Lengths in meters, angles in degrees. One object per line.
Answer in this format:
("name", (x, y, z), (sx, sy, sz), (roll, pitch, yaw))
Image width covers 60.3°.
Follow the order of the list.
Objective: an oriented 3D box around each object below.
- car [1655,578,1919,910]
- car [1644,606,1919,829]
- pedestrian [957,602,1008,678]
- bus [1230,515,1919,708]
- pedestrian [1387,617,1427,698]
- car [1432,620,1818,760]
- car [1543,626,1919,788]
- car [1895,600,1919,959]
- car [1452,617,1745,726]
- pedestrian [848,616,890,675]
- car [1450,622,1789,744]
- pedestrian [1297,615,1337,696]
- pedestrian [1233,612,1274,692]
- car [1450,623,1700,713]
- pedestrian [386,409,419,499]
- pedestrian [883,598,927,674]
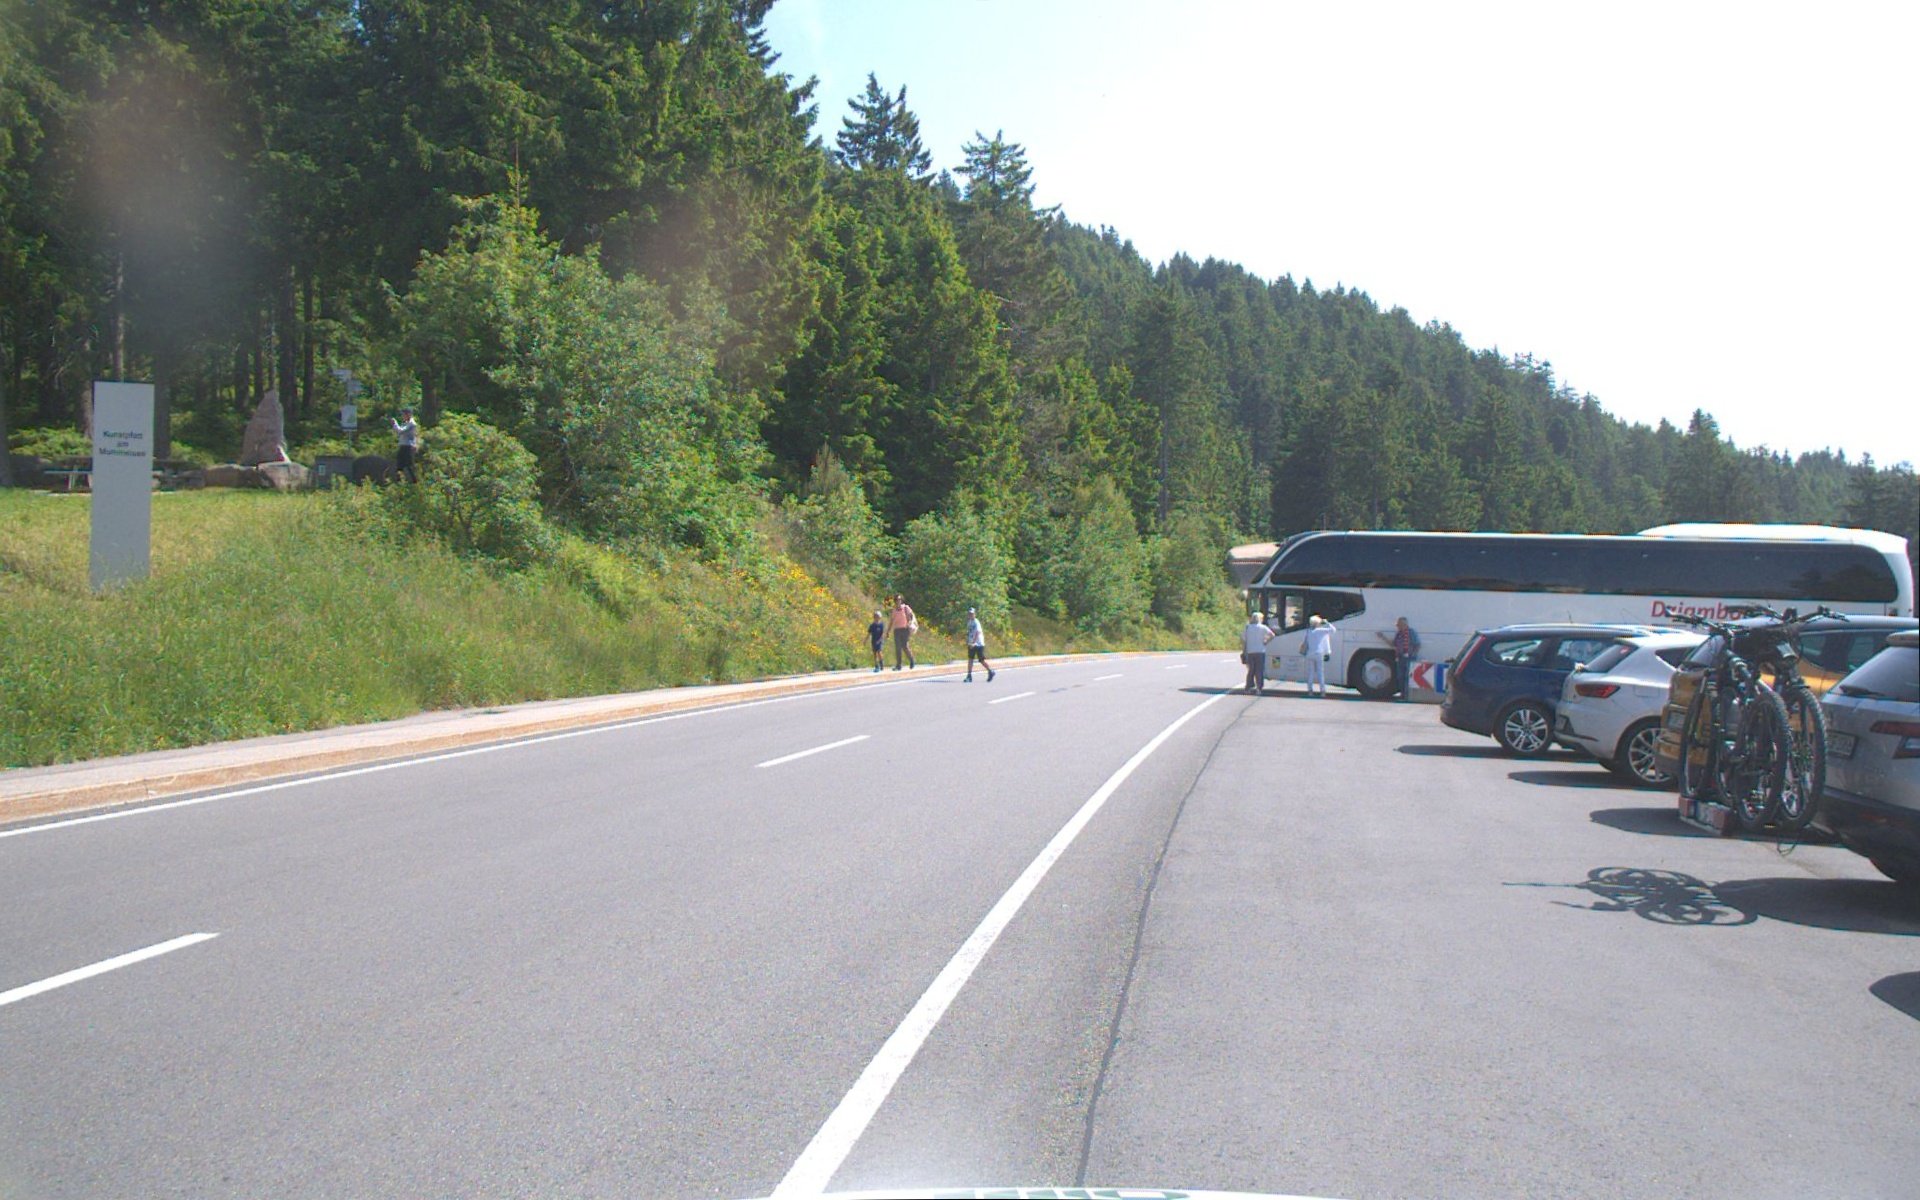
("car", (6.716, 0.761, 9.159), (4.926, 1.680, 2.049), (1, 0, 8))
("car", (7.514, 0.867, 12.672), (3.902, 1.581, 1.661), (1, 0, 8))
("pedestrian", (0.486, 0.853, 35.542), (0.841, 1.613, 0.813), (1, 0, -21))
("bus", (12.256, 0.139, 34.271), (12.820, 3.594, 3.045), (1, 0, 19))
("pedestrian", (9.052, 1.153, 33.512), (0.753, 1.613, 0.773), (1, 0, 16))
("car", (7.740, 1.015, 19.591), (3.902, 1.474, 1.862), (1, 0, 8))
("car", (7.912, 1.009, 16.197), (3.902, 1.423, 1.621), (1, 0, 8))
("car", (6.196, 0.816, 6.342), (4.153, 1.581, 1.839), (1, 0, 8))
("car", (9.779, 1.066, 25.609), (3.902, 1.533, 1.862), (1, 0, 8))
("pedestrian", (-2.034, 1.007, 37.093), (0.764, 1.302, 0.737), (1, 0, 10))
("car", (8.765, 1.074, 22.294), (3.902, 1.474, 1.862), (1, 0, 8))
("pedestrian", (7.285, 1.112, 33.737), (0.754, 1.613, 0.773), (1, 0, 15))
("pedestrian", (6.061, 1.056, 34.159), (0.754, 1.613, 0.773), (1, 0, 15))
("car", (10.948, 1.195, 29.694), (3.902, 1.474, 1.862), (1, 0, 8))
("pedestrian", (-12.265, -3.201, 36.406), (0.670, 1.911, 0.538), (0, 0, -20))
("pedestrian", (-1.260, 0.809, 37.986), (0.848, 1.713, 0.857), (1, 0, 10))
